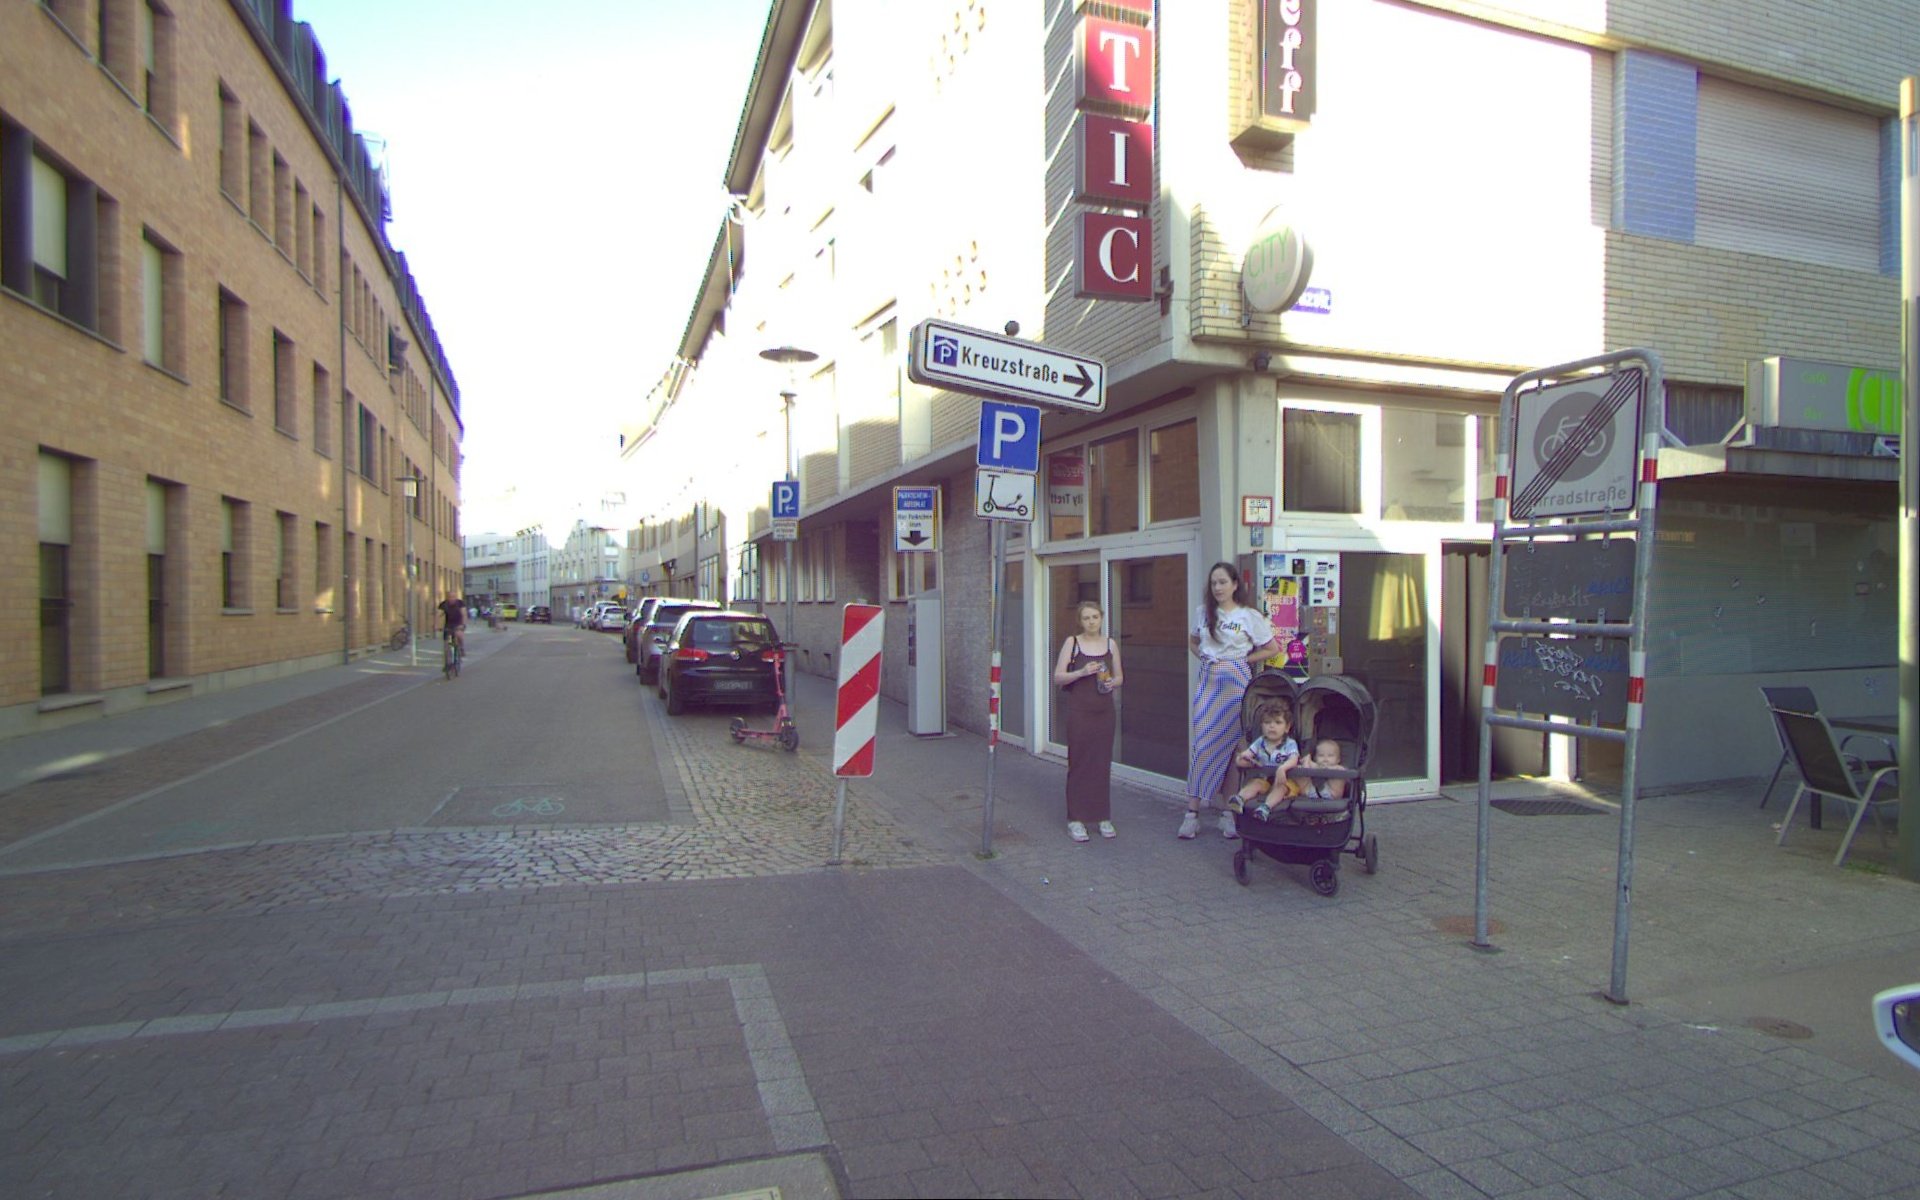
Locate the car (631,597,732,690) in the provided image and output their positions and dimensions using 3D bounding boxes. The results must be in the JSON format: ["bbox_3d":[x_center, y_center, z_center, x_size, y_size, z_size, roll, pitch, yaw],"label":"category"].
[{"bbox_3d":[-5.740,0.838,20.410,1.648,1.683,4.063,2,-1,-20],"label":"car"}]

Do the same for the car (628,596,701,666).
[{"bbox_3d":[-8.094,0.819,27.304,1.648,1.727,3.995,2,-1,-20],"label":"car"}]

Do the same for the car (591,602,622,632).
[{"bbox_3d":[-22.436,1.055,63.698,1.669,1.799,3.637,2,-1,-22],"label":"car"}]

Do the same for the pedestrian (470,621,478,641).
[{"bbox_3d":[-38.316,2.475,79.164,0.535,1.565,0.403,1,0,-21],"label":"pedestrian"}]

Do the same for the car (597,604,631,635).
[{"bbox_3d":[-20.045,1.107,58.203,1.669,1.701,3.490,2,-1,-22],"label":"car"}]

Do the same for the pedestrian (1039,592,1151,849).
[{"bbox_3d":[0.881,0.761,6.629,0.525,1.601,0.509,-3,0,-13],"label":"pedestrian"}]

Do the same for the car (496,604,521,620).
[{"bbox_3d":[-49.090,1.325,109.244,1.915,1.673,3.801,1,-1,-33],"label":"car"}]

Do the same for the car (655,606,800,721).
[{"bbox_3d":[-3.681,0.883,15.416,1.714,1.506,3.794,2,0,-20],"label":"car"}]

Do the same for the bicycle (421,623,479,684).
[{"bbox_3d":[-10.438,1.067,20.623,0.694,1.118,1.821,-4,1,-17],"label":"bicycle"}]

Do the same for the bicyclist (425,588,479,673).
[{"bbox_3d":[-10.523,0.615,20.834,0.761,1.678,0.953,-3,1,-18],"label":"bicyclist"}]

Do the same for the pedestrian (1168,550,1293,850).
[{"bbox_3d":[1.777,0.623,6.555,0.647,1.844,0.570,-2,0,22],"label":"pedestrian"}]

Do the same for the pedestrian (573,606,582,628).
[{"bbox_3d":[-26.194,1.176,68.794,0.564,1.499,0.470,0,0,-27],"label":"pedestrian"}]

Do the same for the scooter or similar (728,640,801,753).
[{"bbox_3d":[-2.165,1.045,11.109,0.867,1.199,0.208,0,0,31],"label":"scooter or similar"}]

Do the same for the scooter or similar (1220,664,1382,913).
[{"bbox_3d":[1.919,0.973,5.583,0.784,1.159,0.953,0,1,23],"label":"scooter or similar"}]

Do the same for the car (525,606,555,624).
[{"bbox_3d":[-40.030,1.425,95.684,1.915,1.673,3.801,0,0,-33],"label":"car"}]

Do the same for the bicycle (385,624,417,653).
[{"bbox_3d":[-18.692,1.268,33.638,0.634,0.893,2.543,1,-1,-22],"label":"bicycle"}]
